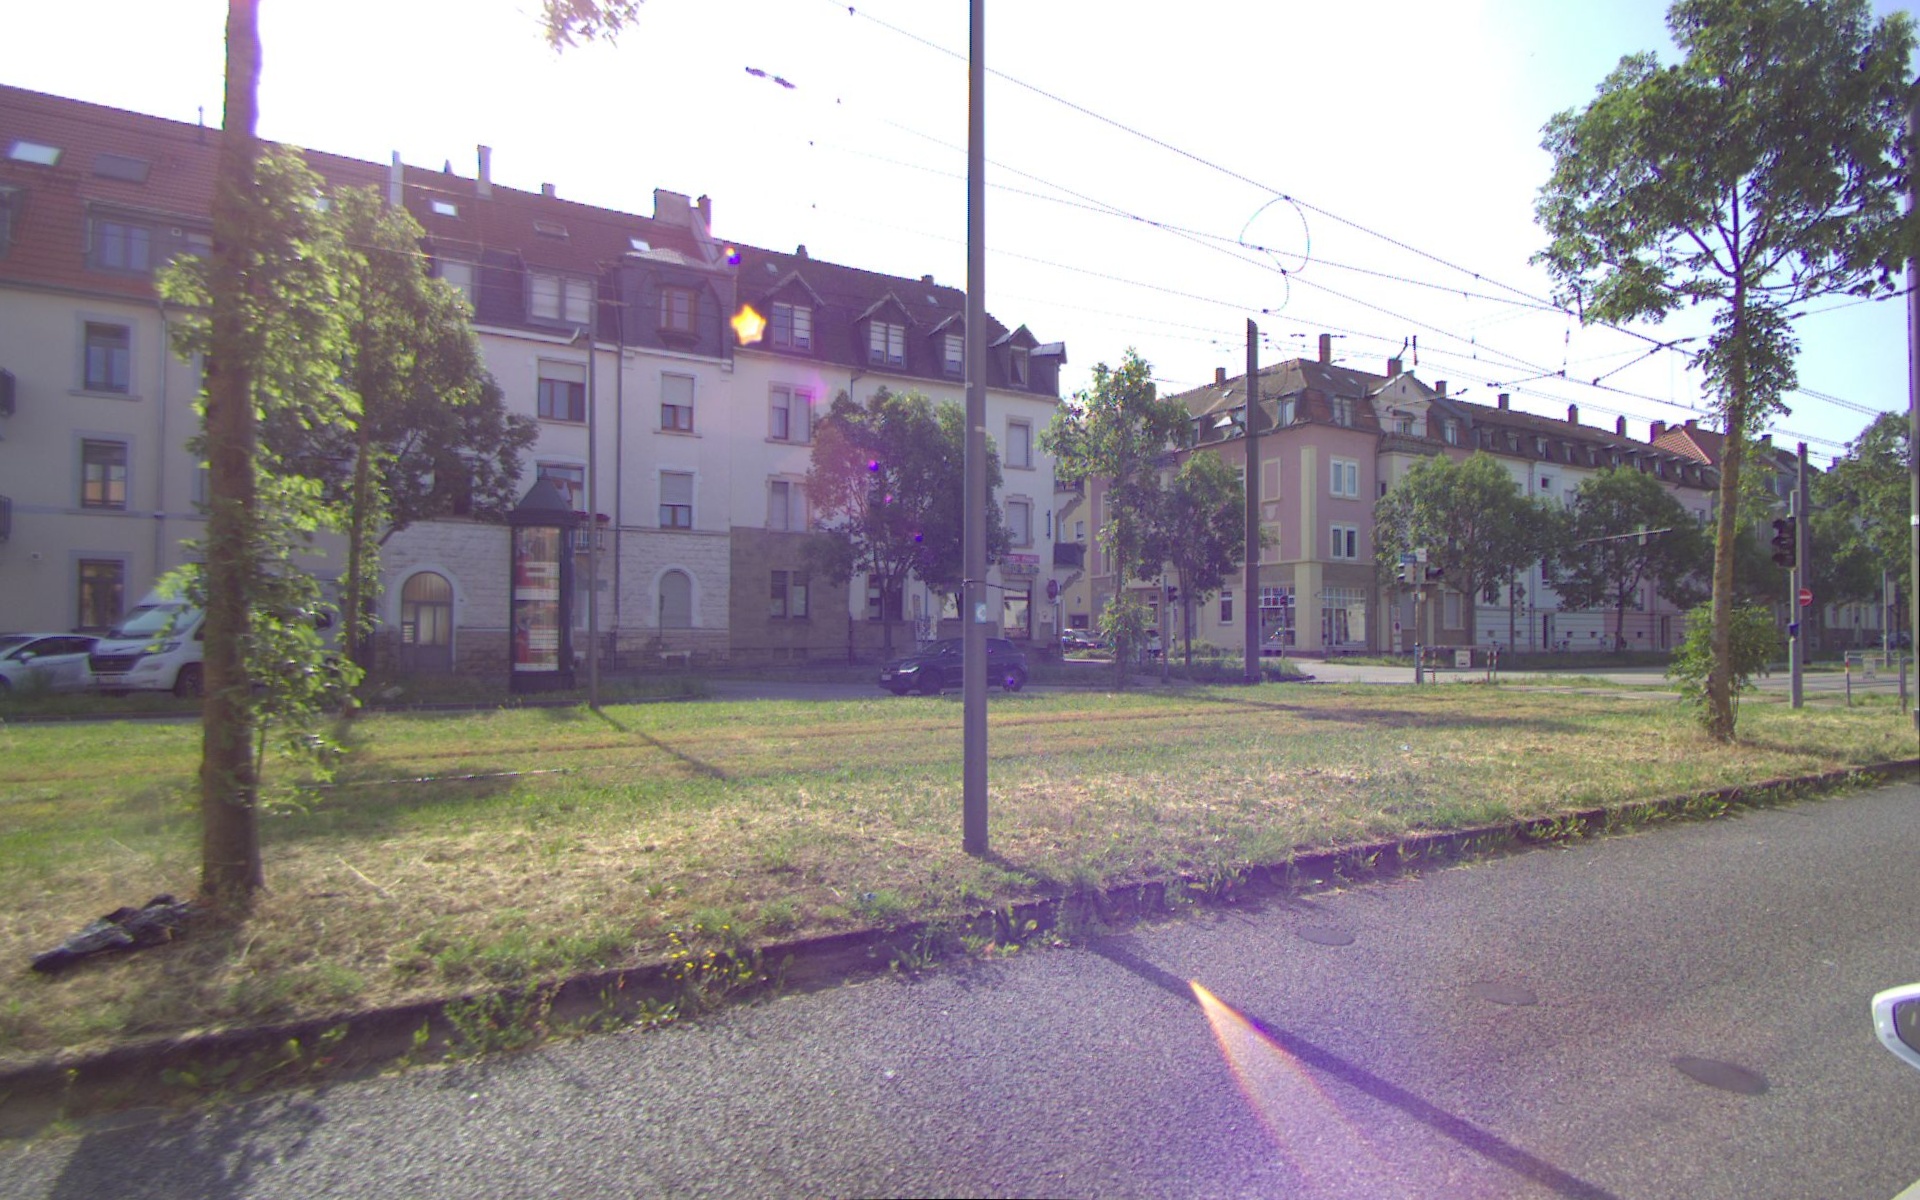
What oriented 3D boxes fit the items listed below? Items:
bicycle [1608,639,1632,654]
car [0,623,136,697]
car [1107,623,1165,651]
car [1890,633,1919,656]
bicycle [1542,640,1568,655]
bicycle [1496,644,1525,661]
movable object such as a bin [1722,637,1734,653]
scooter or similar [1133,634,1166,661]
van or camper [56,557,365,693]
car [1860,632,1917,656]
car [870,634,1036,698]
[{"bbox_3d":[40.477,2.845,61.561,1.926,0.868,0.445,2,0,-32],"label":"bicycle"},{"bbox_3d":[-19.431,1.203,20.714,1.629,1.349,3.688,2,0,5],"label":"car"},{"bbox_3d":[10.582,2.224,60.564,1.552,1.481,3.379,2,0,-32],"label":"car"},{"bbox_3d":[75.006,3.505,78.652,4.103,1.650,1.882,1,0,-28],"label":"car"},{"bbox_3d":[34.424,2.741,58.082,1.926,0.799,0.435,2,0,-32],"label":"bicycle"},{"bbox_3d":[29.922,2.836,54.590,1.926,0.901,0.465,2,0,-32],"label":"bicycle"},{"bbox_3d":[61.087,3.595,79.899,0.633,1.227,0.582,2,0,-31],"label":"movable object such as a bin"},{"bbox_3d":[8.037,2.014,42.562,0.730,1.083,1.482,2,0,38],"label":"scooter or similar"},{"bbox_3d":[-16.529,0.506,22.737,2.155,2.608,5.929,2,0,5],"label":"van or camper"},{"bbox_3d":[69.892,3.282,75.583,4.722,1.650,1.983,1,0,-32],"label":"car"},{"bbox_3d":[-0.155,1.663,25.823,3.881,1.452,1.803,2,0,-31],"label":"car"}]
